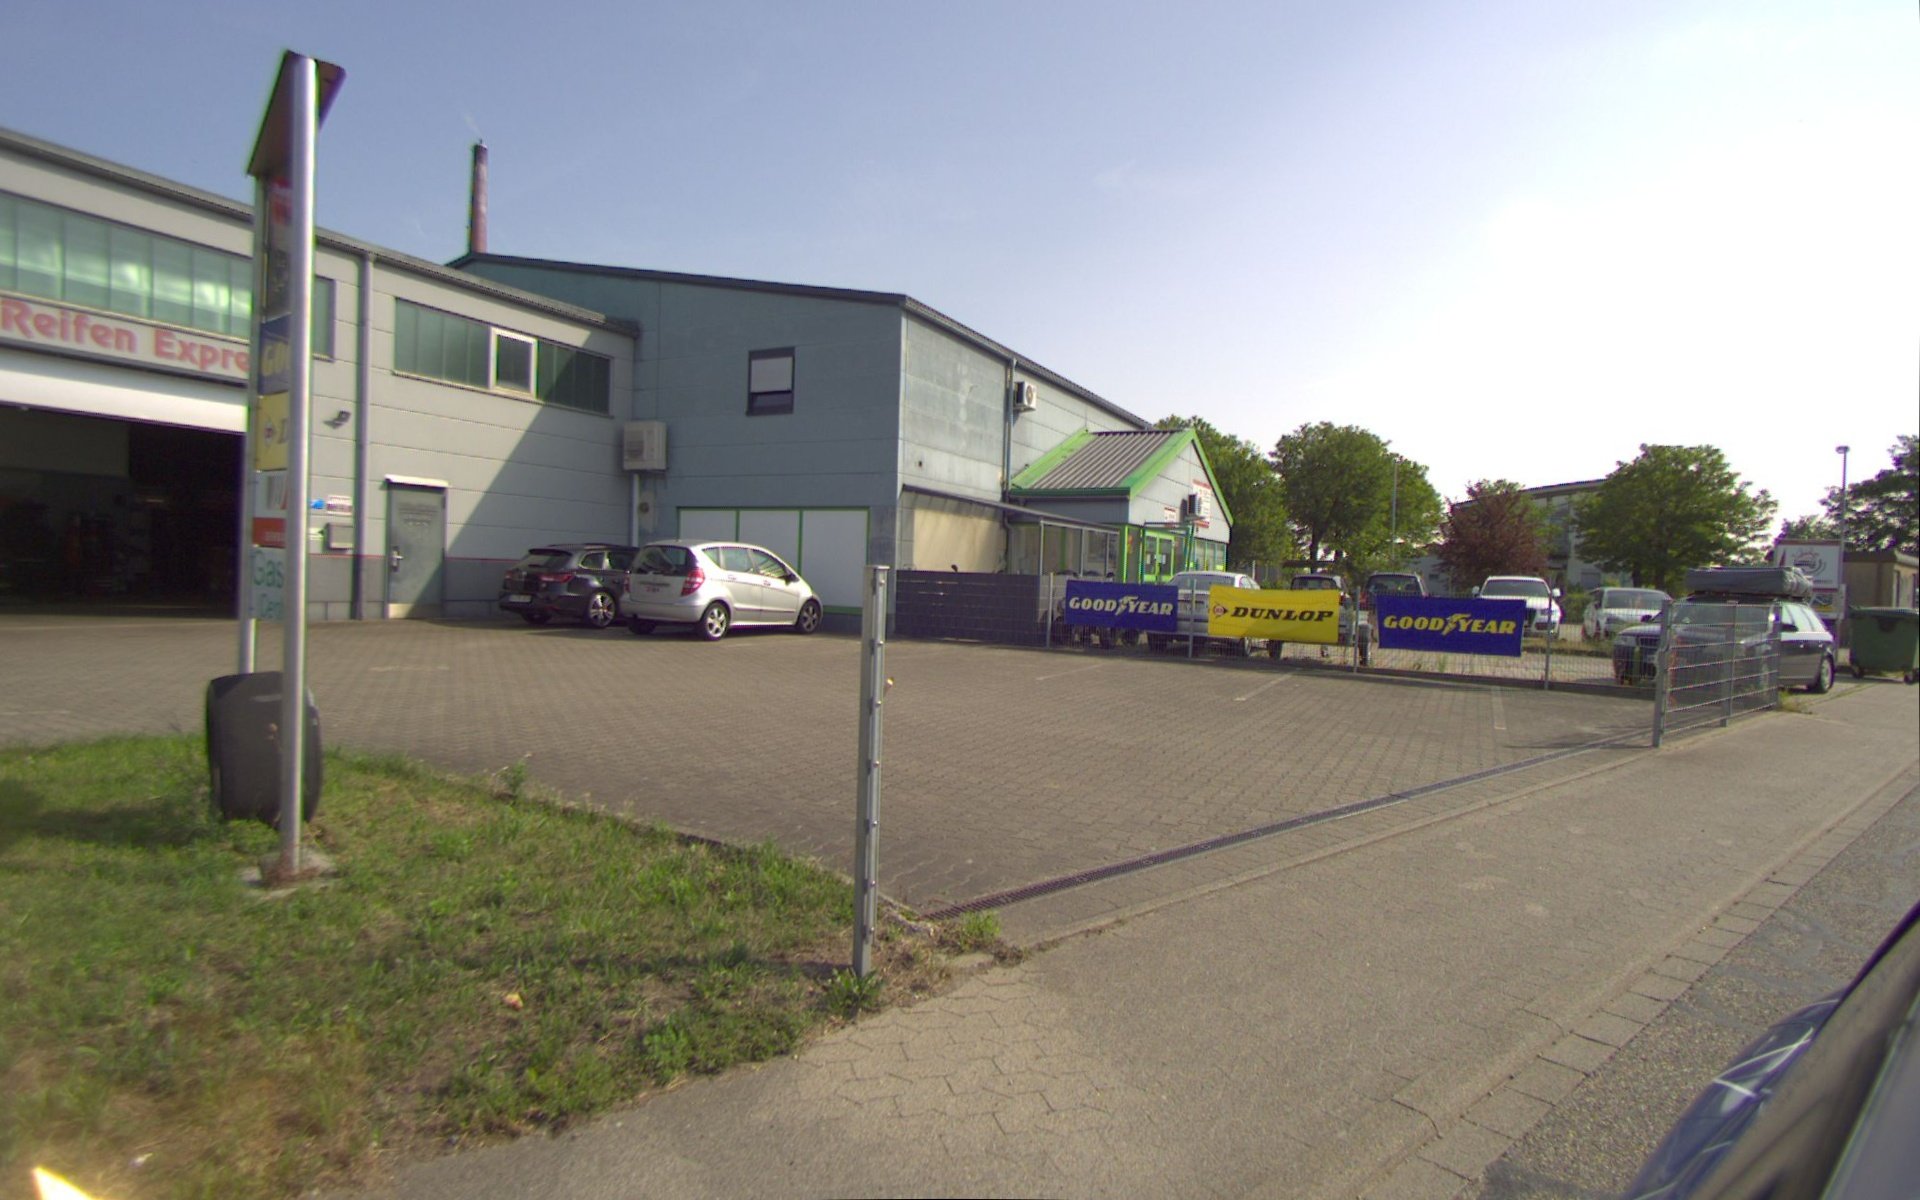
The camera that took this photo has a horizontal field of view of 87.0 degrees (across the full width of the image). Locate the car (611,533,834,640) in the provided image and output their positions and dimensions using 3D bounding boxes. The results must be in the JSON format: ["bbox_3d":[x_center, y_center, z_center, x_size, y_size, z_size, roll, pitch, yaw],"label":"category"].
[{"bbox_3d":[-3.927,-0.252,17.295,1.624,1.587,3.769,2,2,28],"label":"car"}]

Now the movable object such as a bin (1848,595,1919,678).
[{"bbox_3d":[17.193,0.646,18.506,1.478,1.369,1.084,1,4,-38],"label":"movable object such as a bin"}]

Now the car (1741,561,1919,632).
[{"bbox_3d":[33.960,-0.171,38.411,6.703,2.571,2.252,1,1,36],"label":"car"}]

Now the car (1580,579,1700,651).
[{"bbox_3d":[16.010,0.282,24.031,1.676,1.484,4.226,2,2,25],"label":"car"}]

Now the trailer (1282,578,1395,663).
[{"bbox_3d":[6.338,0.292,16.804,1.480,1.264,2.950,1,1,26],"label":"trailer"}]

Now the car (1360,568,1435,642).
[{"bbox_3d":[11.329,0.085,26.145,1.627,1.741,3.186,2,2,25],"label":"car"}]

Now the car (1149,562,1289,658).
[{"bbox_3d":[4.828,0.114,18.428,1.628,1.484,4.423,2,2,25],"label":"car"}]

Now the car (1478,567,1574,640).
[{"bbox_3d":[13.885,0.042,25.022,1.703,1.591,4.097,2,2,25],"label":"car"}]

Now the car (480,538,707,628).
[{"bbox_3d":[-6.470,-0.320,18.237,1.667,1.419,3.675,3,2,28],"label":"car"}]

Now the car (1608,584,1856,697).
[{"bbox_3d":[11.379,0.523,14.823,4.310,1.385,1.679,1,2,-36],"label":"car"}]
